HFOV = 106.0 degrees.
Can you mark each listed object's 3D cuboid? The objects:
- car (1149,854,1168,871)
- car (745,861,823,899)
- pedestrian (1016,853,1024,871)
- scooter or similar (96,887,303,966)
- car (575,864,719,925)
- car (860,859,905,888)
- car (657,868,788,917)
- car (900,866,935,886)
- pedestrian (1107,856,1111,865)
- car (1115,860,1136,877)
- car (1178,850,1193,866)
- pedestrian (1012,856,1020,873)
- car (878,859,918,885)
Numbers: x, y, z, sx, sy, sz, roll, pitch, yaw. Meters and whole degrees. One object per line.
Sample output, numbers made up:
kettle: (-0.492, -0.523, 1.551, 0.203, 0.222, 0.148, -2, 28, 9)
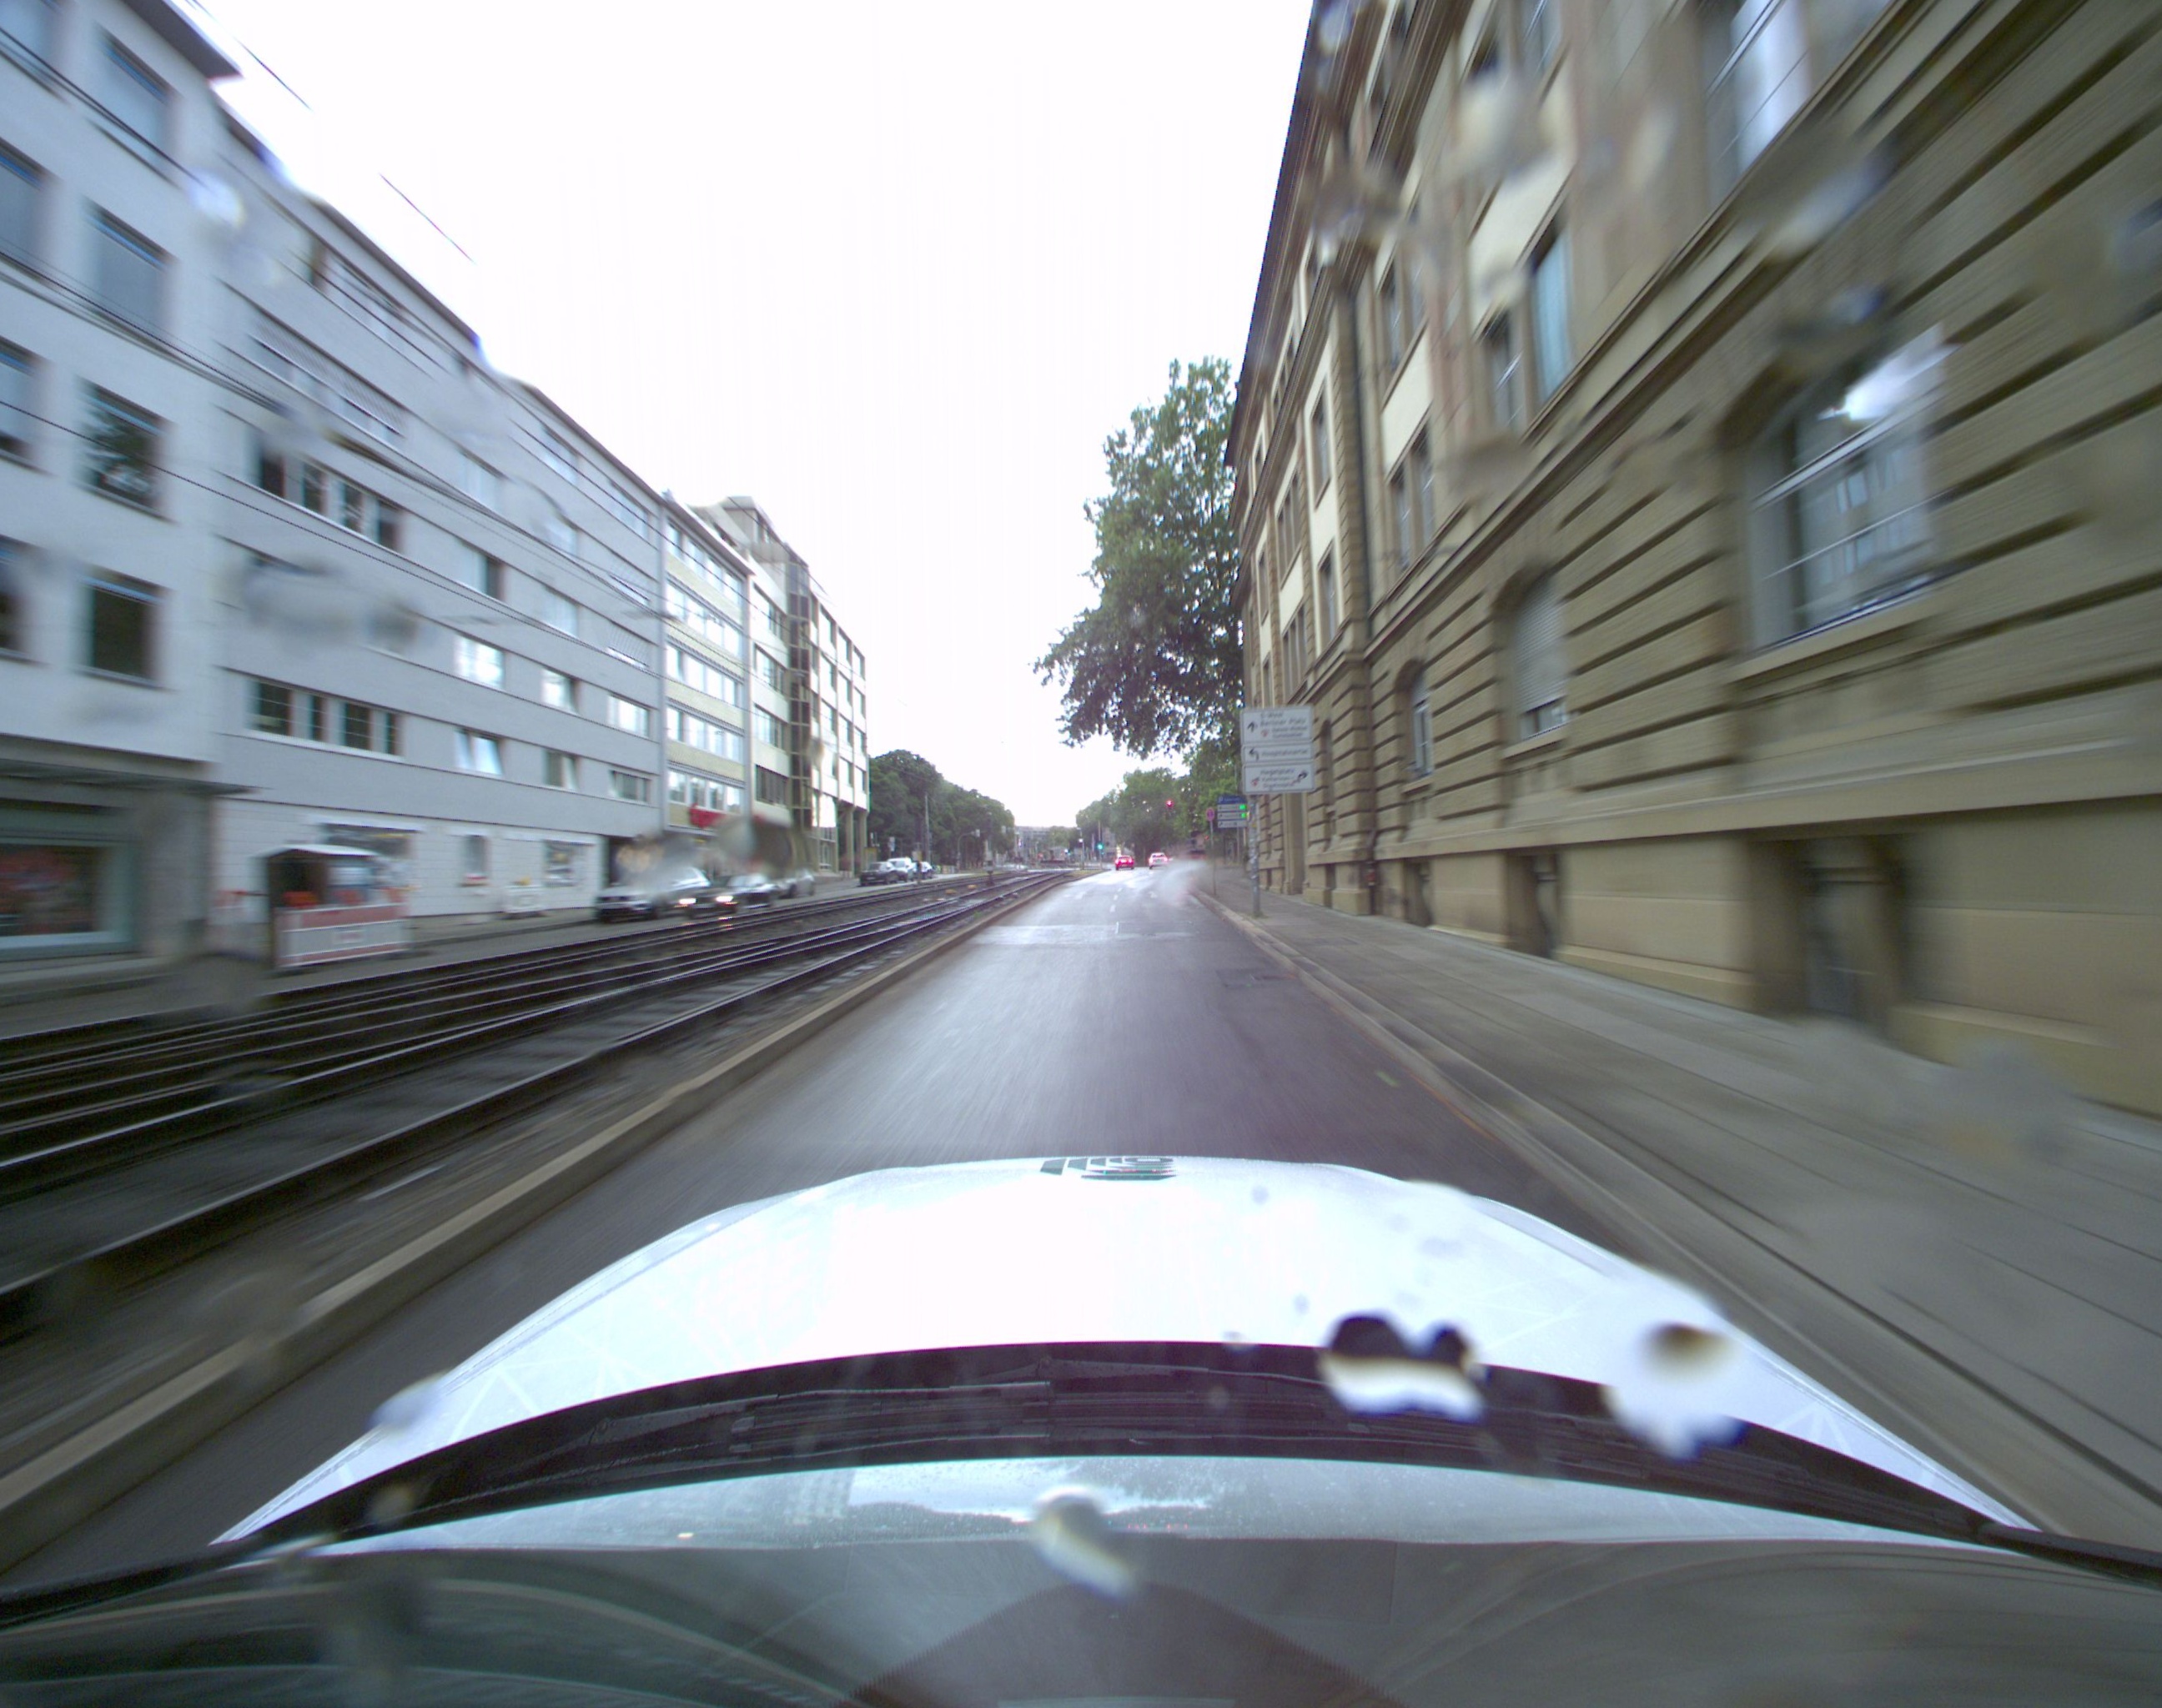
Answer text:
car: (7.335, 0.789, 76.994, 1.670, 1.576, 4.260, -2, 0, 6)
car: (-13.871, 1.193, 38.372, 1.988, 1.674, 4.692, 0, -2, -1)
pedestrian: (-6.143, 0.781, 81.518, 0.640, 1.788, 0.806, 1, -2, -17)
scooter or similar: (-17.367, 1.368, 16.224, 0.694, 1.374, 3.089, 0, -2, 1)
car: (-13.726, 1.206, 26.155, 1.986, 1.674, 4.697, 0, 0, 1)
car: (-13.269, 1.326, 54.737, 1.988, 1.850, 4.692, 0, -2, -1)
car: (-10.807, 1.130, 24.969, 1.988, 1.255, 4.692, -2, -1, -1)
car: (-13.294, 1.776, 66.584, 1.988, 1.582, 4.546, 0, -2, -1)
pedestrian: (5.899, 1.336, 169.507, 0.755, 1.824, 0.699, 0, -2, -7)
car: (4.429, 1.488, 80.811, 1.972, 1.640, 4.421, 0, -2, 4)
car: (21.302, 0.906, 166.876, 2.535, 3.134, 5.031, 0, -2, 1)
pedestrian: (-6.570, 1.063, 82.337, 0.641, 1.788, 0.805, 1, -2, -22)
car: (-13.522, 1.377, 60.413, 1.988, 1.850, 4.692, 0, -2, -1)
